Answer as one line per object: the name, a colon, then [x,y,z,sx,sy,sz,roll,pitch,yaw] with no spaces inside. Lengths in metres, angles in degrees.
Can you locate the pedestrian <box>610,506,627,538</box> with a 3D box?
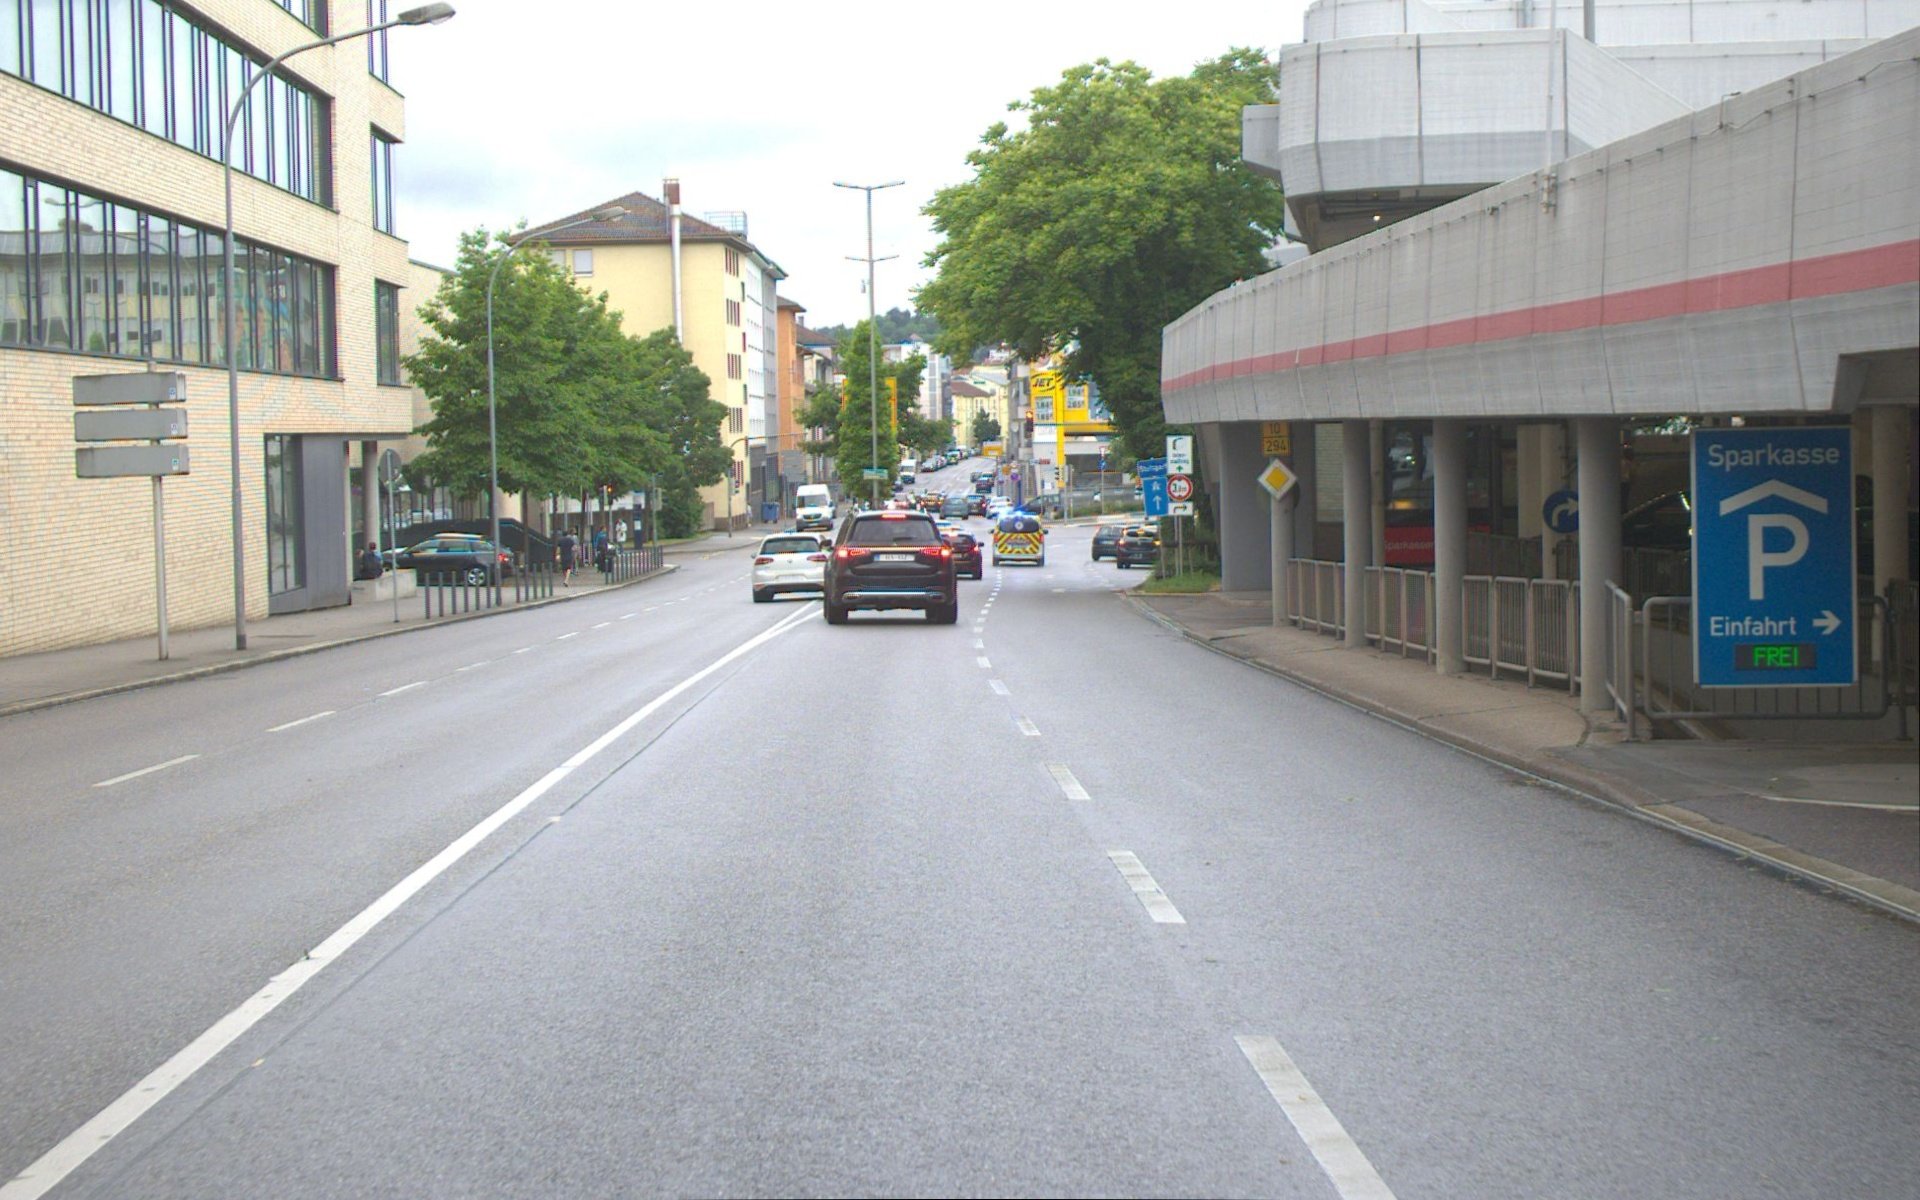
pedestrian: [-15.575,-3.555,156.630,0.711,1.457,0.598,1,0,0]

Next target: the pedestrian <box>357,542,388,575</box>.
pedestrian: [-14.434,-1.022,84.458,0.598,0.783,0.760,1,0,1]

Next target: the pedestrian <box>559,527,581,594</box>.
pedestrian: [-11.864,-1.201,104.584,0.587,2.007,0.749,1,0,-1]

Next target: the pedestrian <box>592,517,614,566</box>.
pedestrian: [-12.911,-2.123,124.391,0.688,1.720,0.754,1,-2,0]

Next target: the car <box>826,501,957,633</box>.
car: [-1.076,-0.523,54.896,1.993,2.007,4.000,1,1,-1]

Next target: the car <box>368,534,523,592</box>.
car: [-15.469,-1.123,103.558,4.467,1.581,2.000,-2,1,-5]

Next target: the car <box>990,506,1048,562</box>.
car: [2.147,-2.428,126.882,1.993,2.007,4.000,1,1,-1]

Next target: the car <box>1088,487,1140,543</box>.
car: [6.115,-3.360,136.596,1.994,2.121,4.000,1,1,3]

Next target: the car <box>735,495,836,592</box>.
car: [-3.746,-1.207,74.431,1.993,2.007,4.000,1,1,-1]

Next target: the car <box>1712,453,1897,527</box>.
car: [19.424,-2.525,79.194,3.988,1.634,1.999,1,0,10]

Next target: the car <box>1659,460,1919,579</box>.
car: [12.368,-1.133,49.212,4.578,1.634,1.821,1,0,11]

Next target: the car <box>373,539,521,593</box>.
car: [-15.747,-1.043,105.665,4.415,1.568,2.001,0,3,-6]

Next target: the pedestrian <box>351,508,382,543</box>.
pedestrian: [-15.281,-1.923,88.520,0.681,0.883,0.524,1,0,1]

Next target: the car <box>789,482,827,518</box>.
car: [-8.543,-5.613,193.368,1.993,1.868,5.142,1,1,-1]

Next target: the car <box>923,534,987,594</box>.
car: [-0.158,-1.057,100.611,1.703,1.710,3.444,1,1,-2]

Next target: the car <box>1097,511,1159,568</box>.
car: [6.086,-2.220,124.930,1.993,2.007,4.001,0,2,-1]

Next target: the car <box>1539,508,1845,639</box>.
car: [9.437,-0.359,44.561,3.724,1.500,1.807,-2,2,8]
